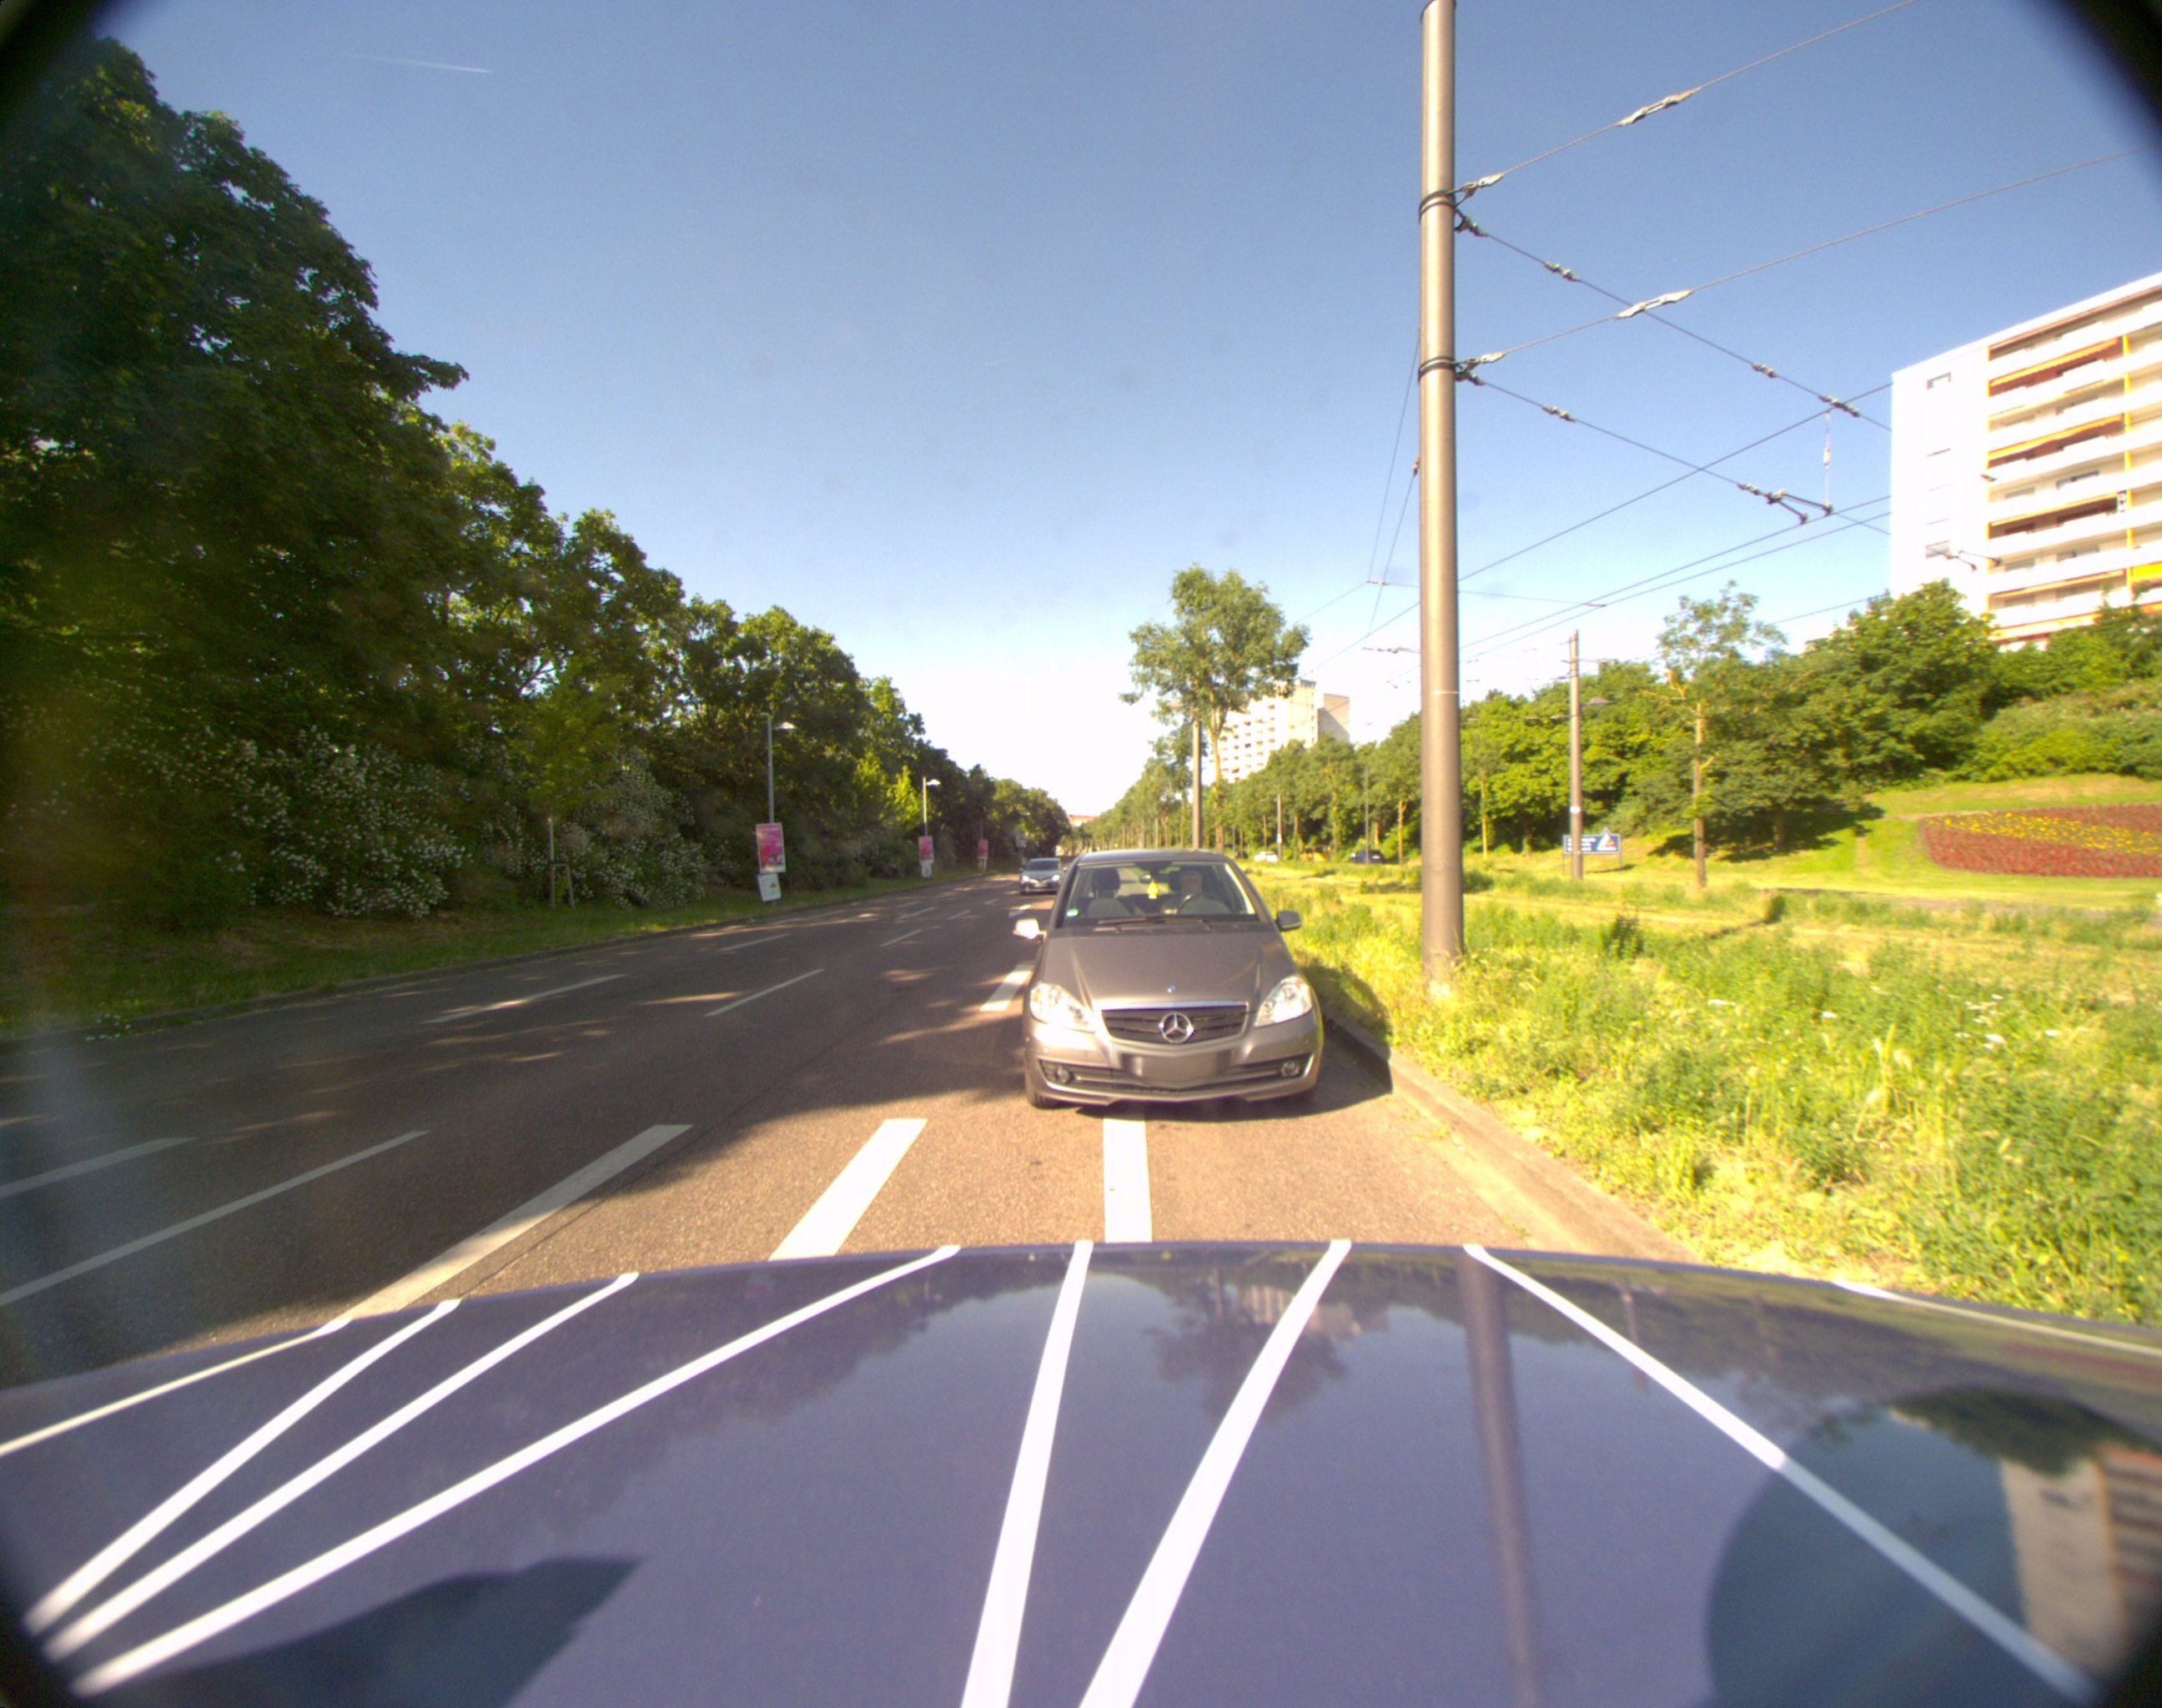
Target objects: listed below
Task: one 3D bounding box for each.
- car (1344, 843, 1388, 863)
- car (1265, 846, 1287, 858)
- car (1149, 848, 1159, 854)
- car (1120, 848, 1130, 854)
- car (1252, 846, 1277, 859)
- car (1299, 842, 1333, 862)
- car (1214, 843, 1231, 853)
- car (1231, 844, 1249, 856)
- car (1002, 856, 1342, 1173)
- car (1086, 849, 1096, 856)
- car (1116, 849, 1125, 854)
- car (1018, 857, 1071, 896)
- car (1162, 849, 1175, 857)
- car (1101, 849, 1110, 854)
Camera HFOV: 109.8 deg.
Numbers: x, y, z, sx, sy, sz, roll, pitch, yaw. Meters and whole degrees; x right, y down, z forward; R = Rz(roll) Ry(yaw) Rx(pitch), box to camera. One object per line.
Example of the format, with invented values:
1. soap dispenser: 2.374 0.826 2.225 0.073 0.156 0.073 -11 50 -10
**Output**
1. car: 22.322 -0.096 59.626 1.998 1.565 4.106 0 1 1
2. car: 23.513 -0.218 91.593 1.780 1.368 4.001 -1 0 3
3. car: 17.514 -0.637 181.738 1.803 1.455 3.998 -1 0 -4
4. car: 11.787 -0.786 203.829 1.883 1.755 3.997 -1 0 -6
5. car: 19.482 -0.179 80.728 1.693 1.399 4.021 -1 0 1
6. car: 23.198 -0.203 75.189 1.998 1.955 4.907 -1 0 1
7. car: 19.736 -0.864 105.983 1.799 1.408 4.310 0 1 2
8. car: 22.350 -0.581 107.113 1.792 1.499 4.240 -1 1 3
9. car: 0.502 0.854 5.923 1.759 1.612 3.880 -1 0 1
10. car: 3.387 -0.500 252.841 2.002 2.002 3.993 -1 0 -20
11. car: 11.789 -0.712 228.280 1.911 1.652 3.996 -1 0 -10
12. car: -1.463 0.892 32.023 1.875 1.428 4.594 -1 0 2
13. car: 18.769 -0.228 163.465 1.999 1.477 3.998 -1 0 -5
14. car: 7.837 -0.716 242.239 1.912 1.652 3.994 -1 0 -17
